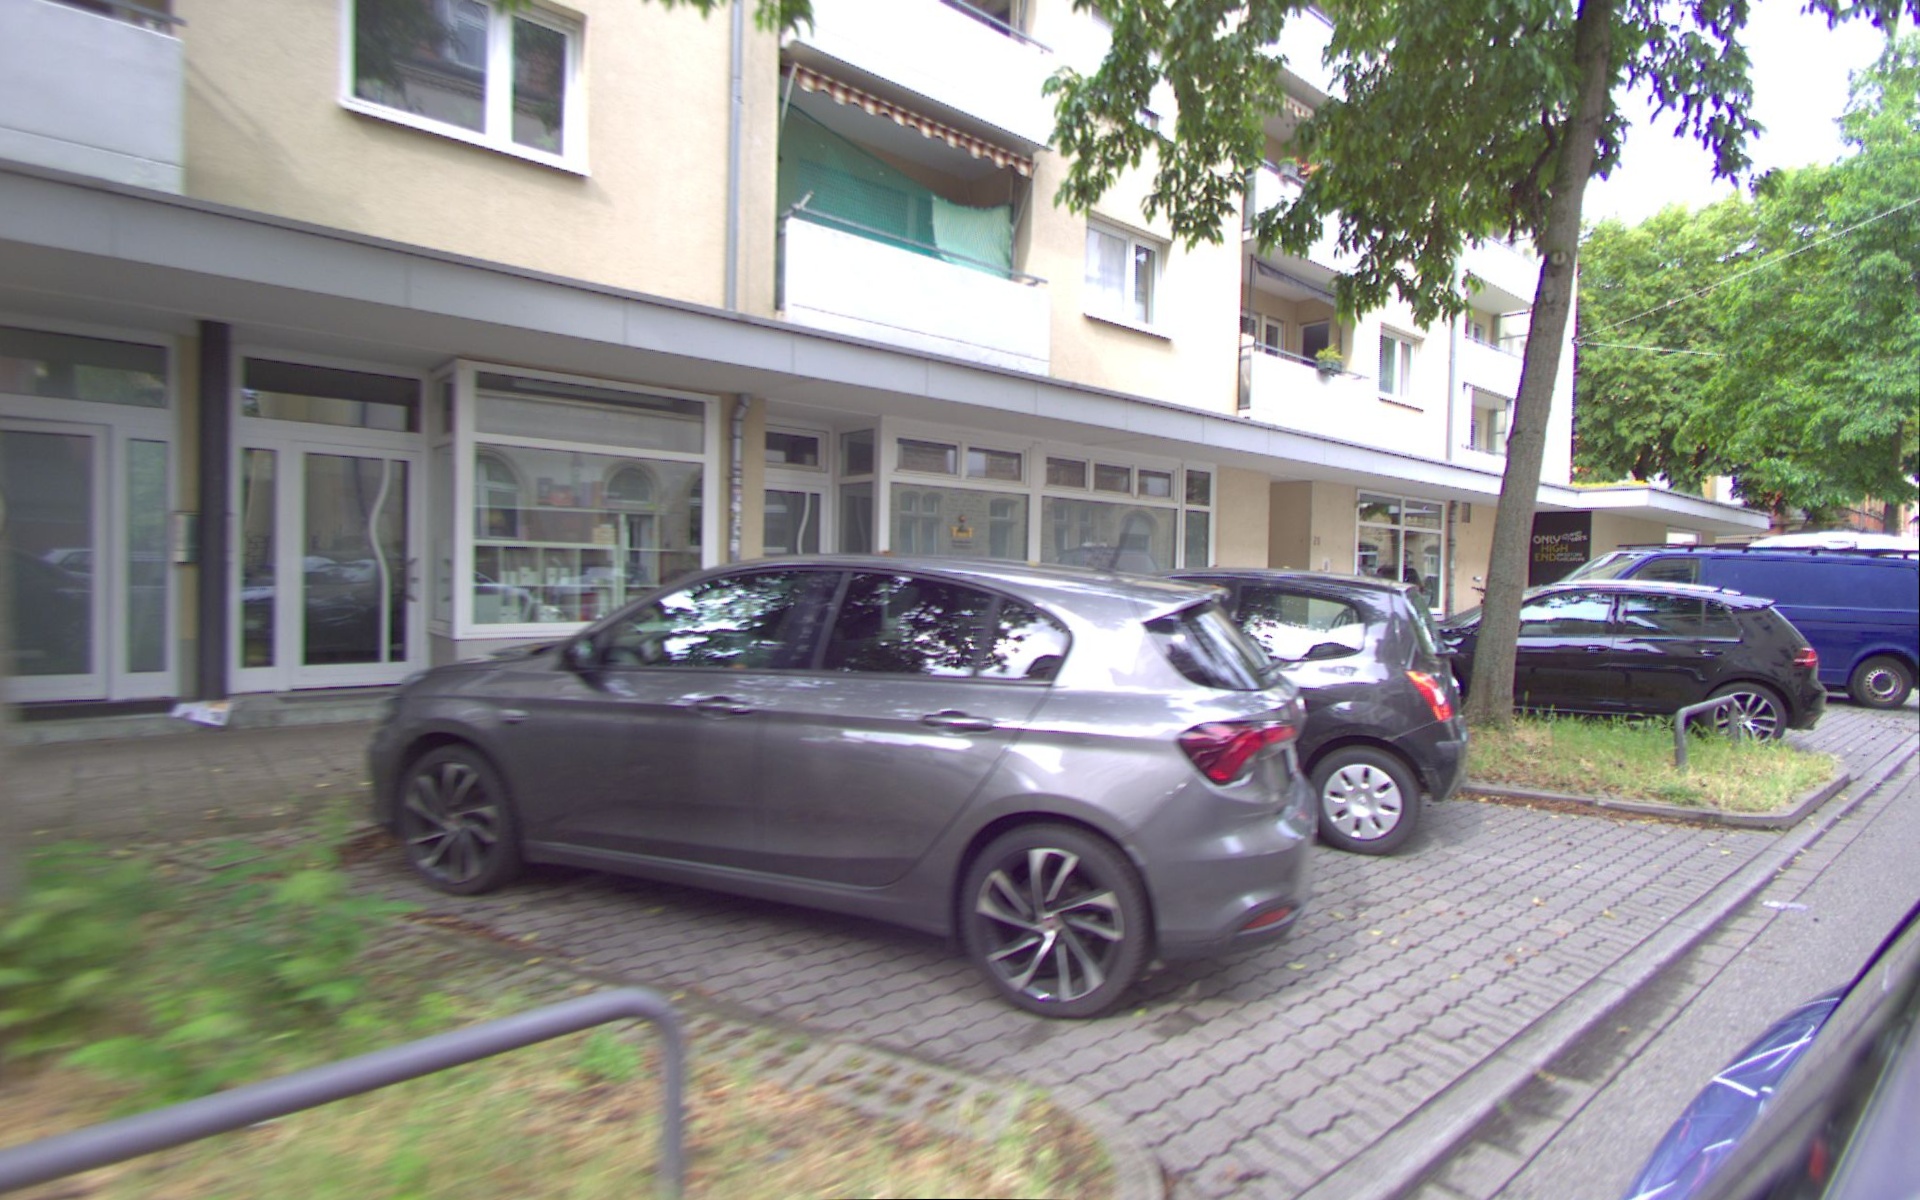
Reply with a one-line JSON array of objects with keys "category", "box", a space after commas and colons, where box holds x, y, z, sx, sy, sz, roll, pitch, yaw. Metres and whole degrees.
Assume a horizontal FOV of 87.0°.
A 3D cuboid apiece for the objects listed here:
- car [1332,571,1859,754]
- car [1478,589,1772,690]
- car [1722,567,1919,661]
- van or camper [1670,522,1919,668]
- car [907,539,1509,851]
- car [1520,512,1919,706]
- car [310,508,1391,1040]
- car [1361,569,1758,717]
[{"category": "car", "box": [5.946, 0.489, 10.105, 4.060, 1.460, 1.843, 2, 2, 18]}, {"category": "car", "box": [10.590, 0.580, 16.401, 3.614, 1.499, 1.681, 0, 1, 15]}, {"category": "car", "box": [18.972, 0.262, 21.318, 4.300, 1.877, 1.895, 1, 1, 25]}, {"category": "van or camper", "box": [16.707, -0.114, 19.491, 4.535, 2.628, 1.900, 1, 1, 18]}, {"category": "car", "box": [1.557, 0.405, 6.544, 3.336, 1.515, 1.836, 2, 2, 25]}, {"category": "car", "box": [10.562, 0.074, 13.720, 4.634, 2.223, 2.060, 3, 2, 12]}, {"category": "car", "box": [-0.468, 0.429, 4.588, 4.169, 1.518, 1.966, 3, 3, 17]}, {"category": "car", "box": [7.044, 0.406, 12.368, 3.874, 1.483, 1.809, 2, 2, 26]}]
